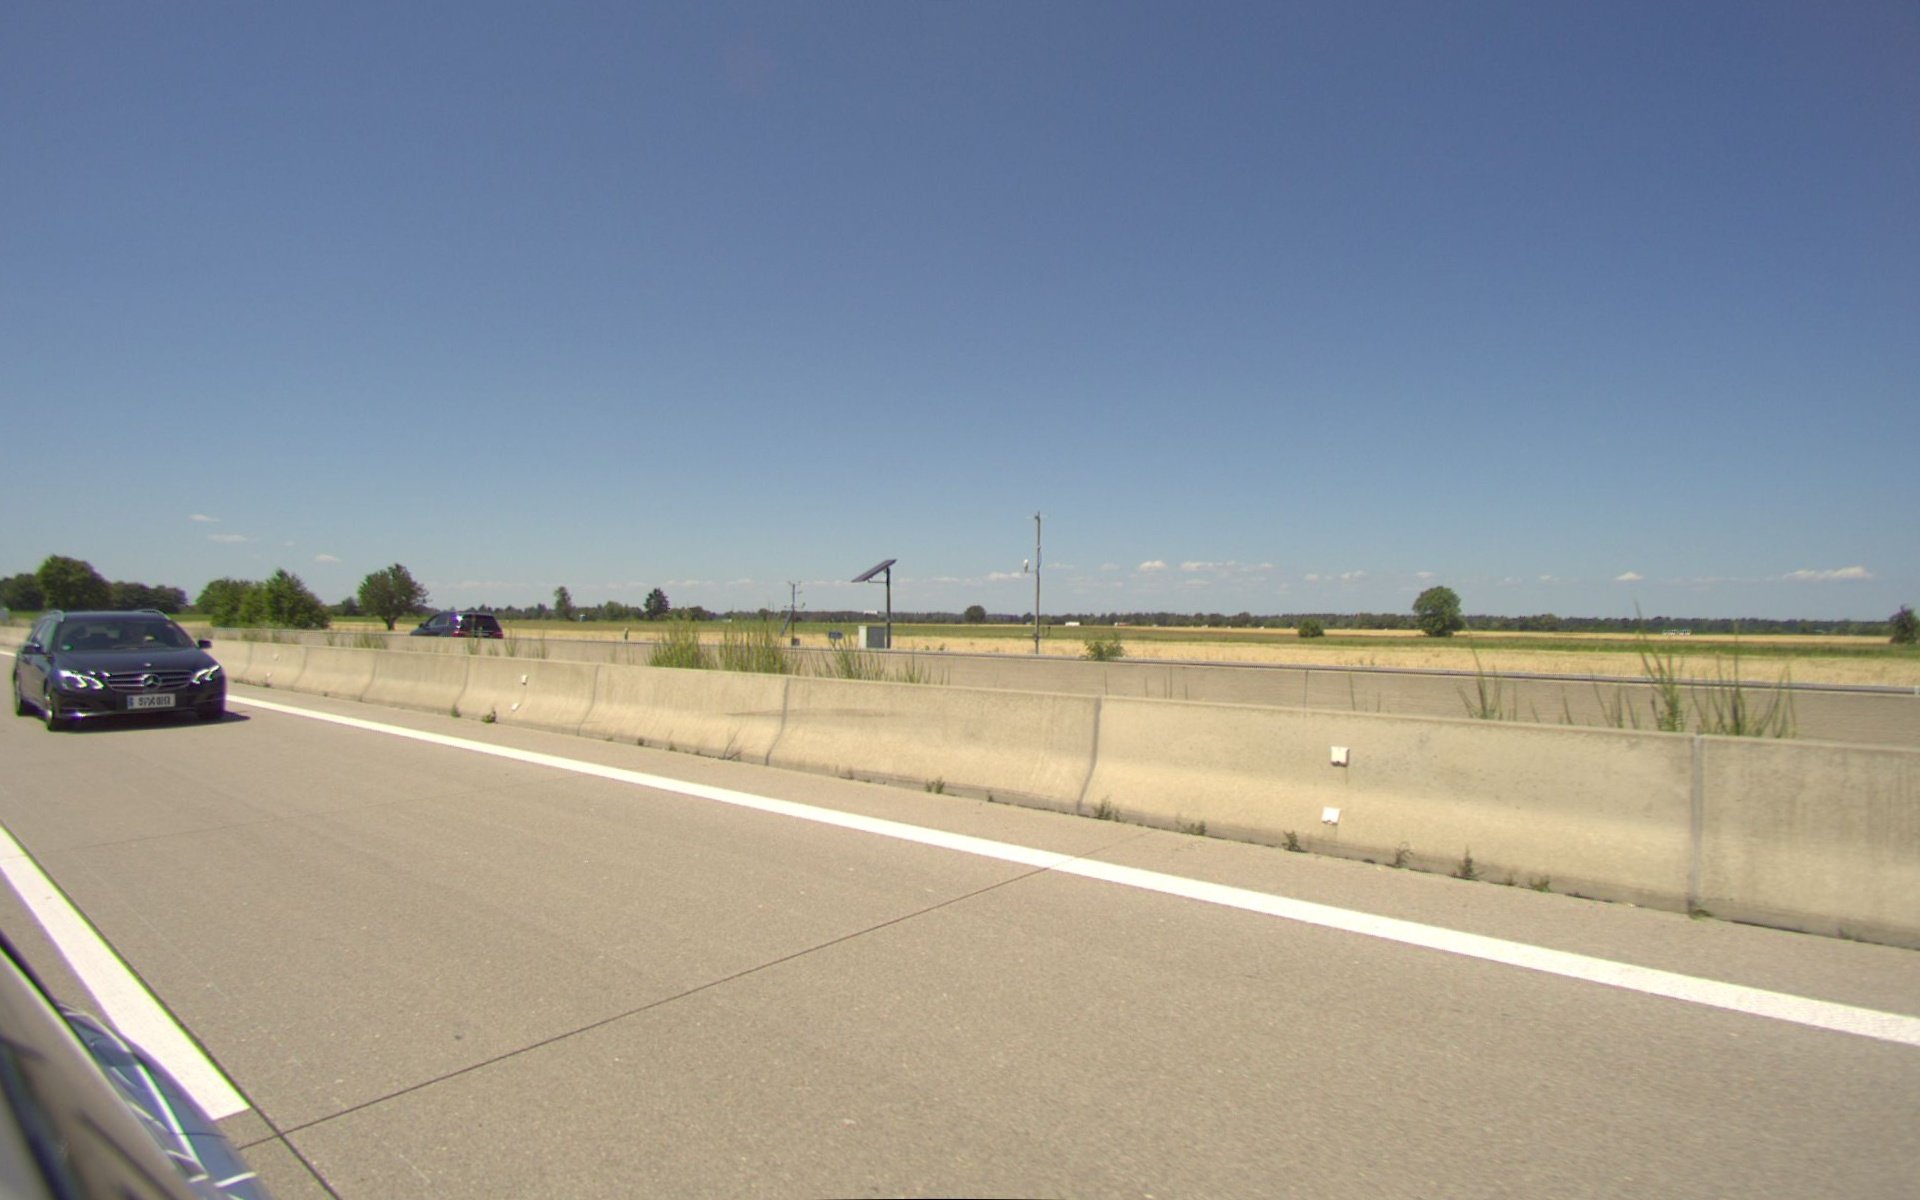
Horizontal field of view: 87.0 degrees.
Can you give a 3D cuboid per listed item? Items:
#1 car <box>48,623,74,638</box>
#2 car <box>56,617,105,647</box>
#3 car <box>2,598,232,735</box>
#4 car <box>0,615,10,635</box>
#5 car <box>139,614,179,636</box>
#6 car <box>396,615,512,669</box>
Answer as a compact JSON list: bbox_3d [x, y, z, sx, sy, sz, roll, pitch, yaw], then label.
[{"bbox_3d":[-108.067,3.652,121.634,4.839,1.696,1.735,-1,-1,41],"label":"car"},{"bbox_3d":[-56.367,2.033,64.821,3.999,1.874,1.886,-1,-1,42],"label":"car"},{"bbox_3d":[-11.596,0.811,13.842,3.938,1.597,1.824,-1,0,41],"label":"car"},{"bbox_3d":[-124.449,3.201,130.495,6.121,2.539,2.189,-1,-1,41],"label":"car"},{"bbox_3d":[-66.659,2.075,84.212,3.999,1.796,1.972,-1,-1,42],"label":"car"},{"bbox_3d":[-18.719,1.504,37.350,4.810,1.852,1.974,-1,0,39],"label":"car"}]
